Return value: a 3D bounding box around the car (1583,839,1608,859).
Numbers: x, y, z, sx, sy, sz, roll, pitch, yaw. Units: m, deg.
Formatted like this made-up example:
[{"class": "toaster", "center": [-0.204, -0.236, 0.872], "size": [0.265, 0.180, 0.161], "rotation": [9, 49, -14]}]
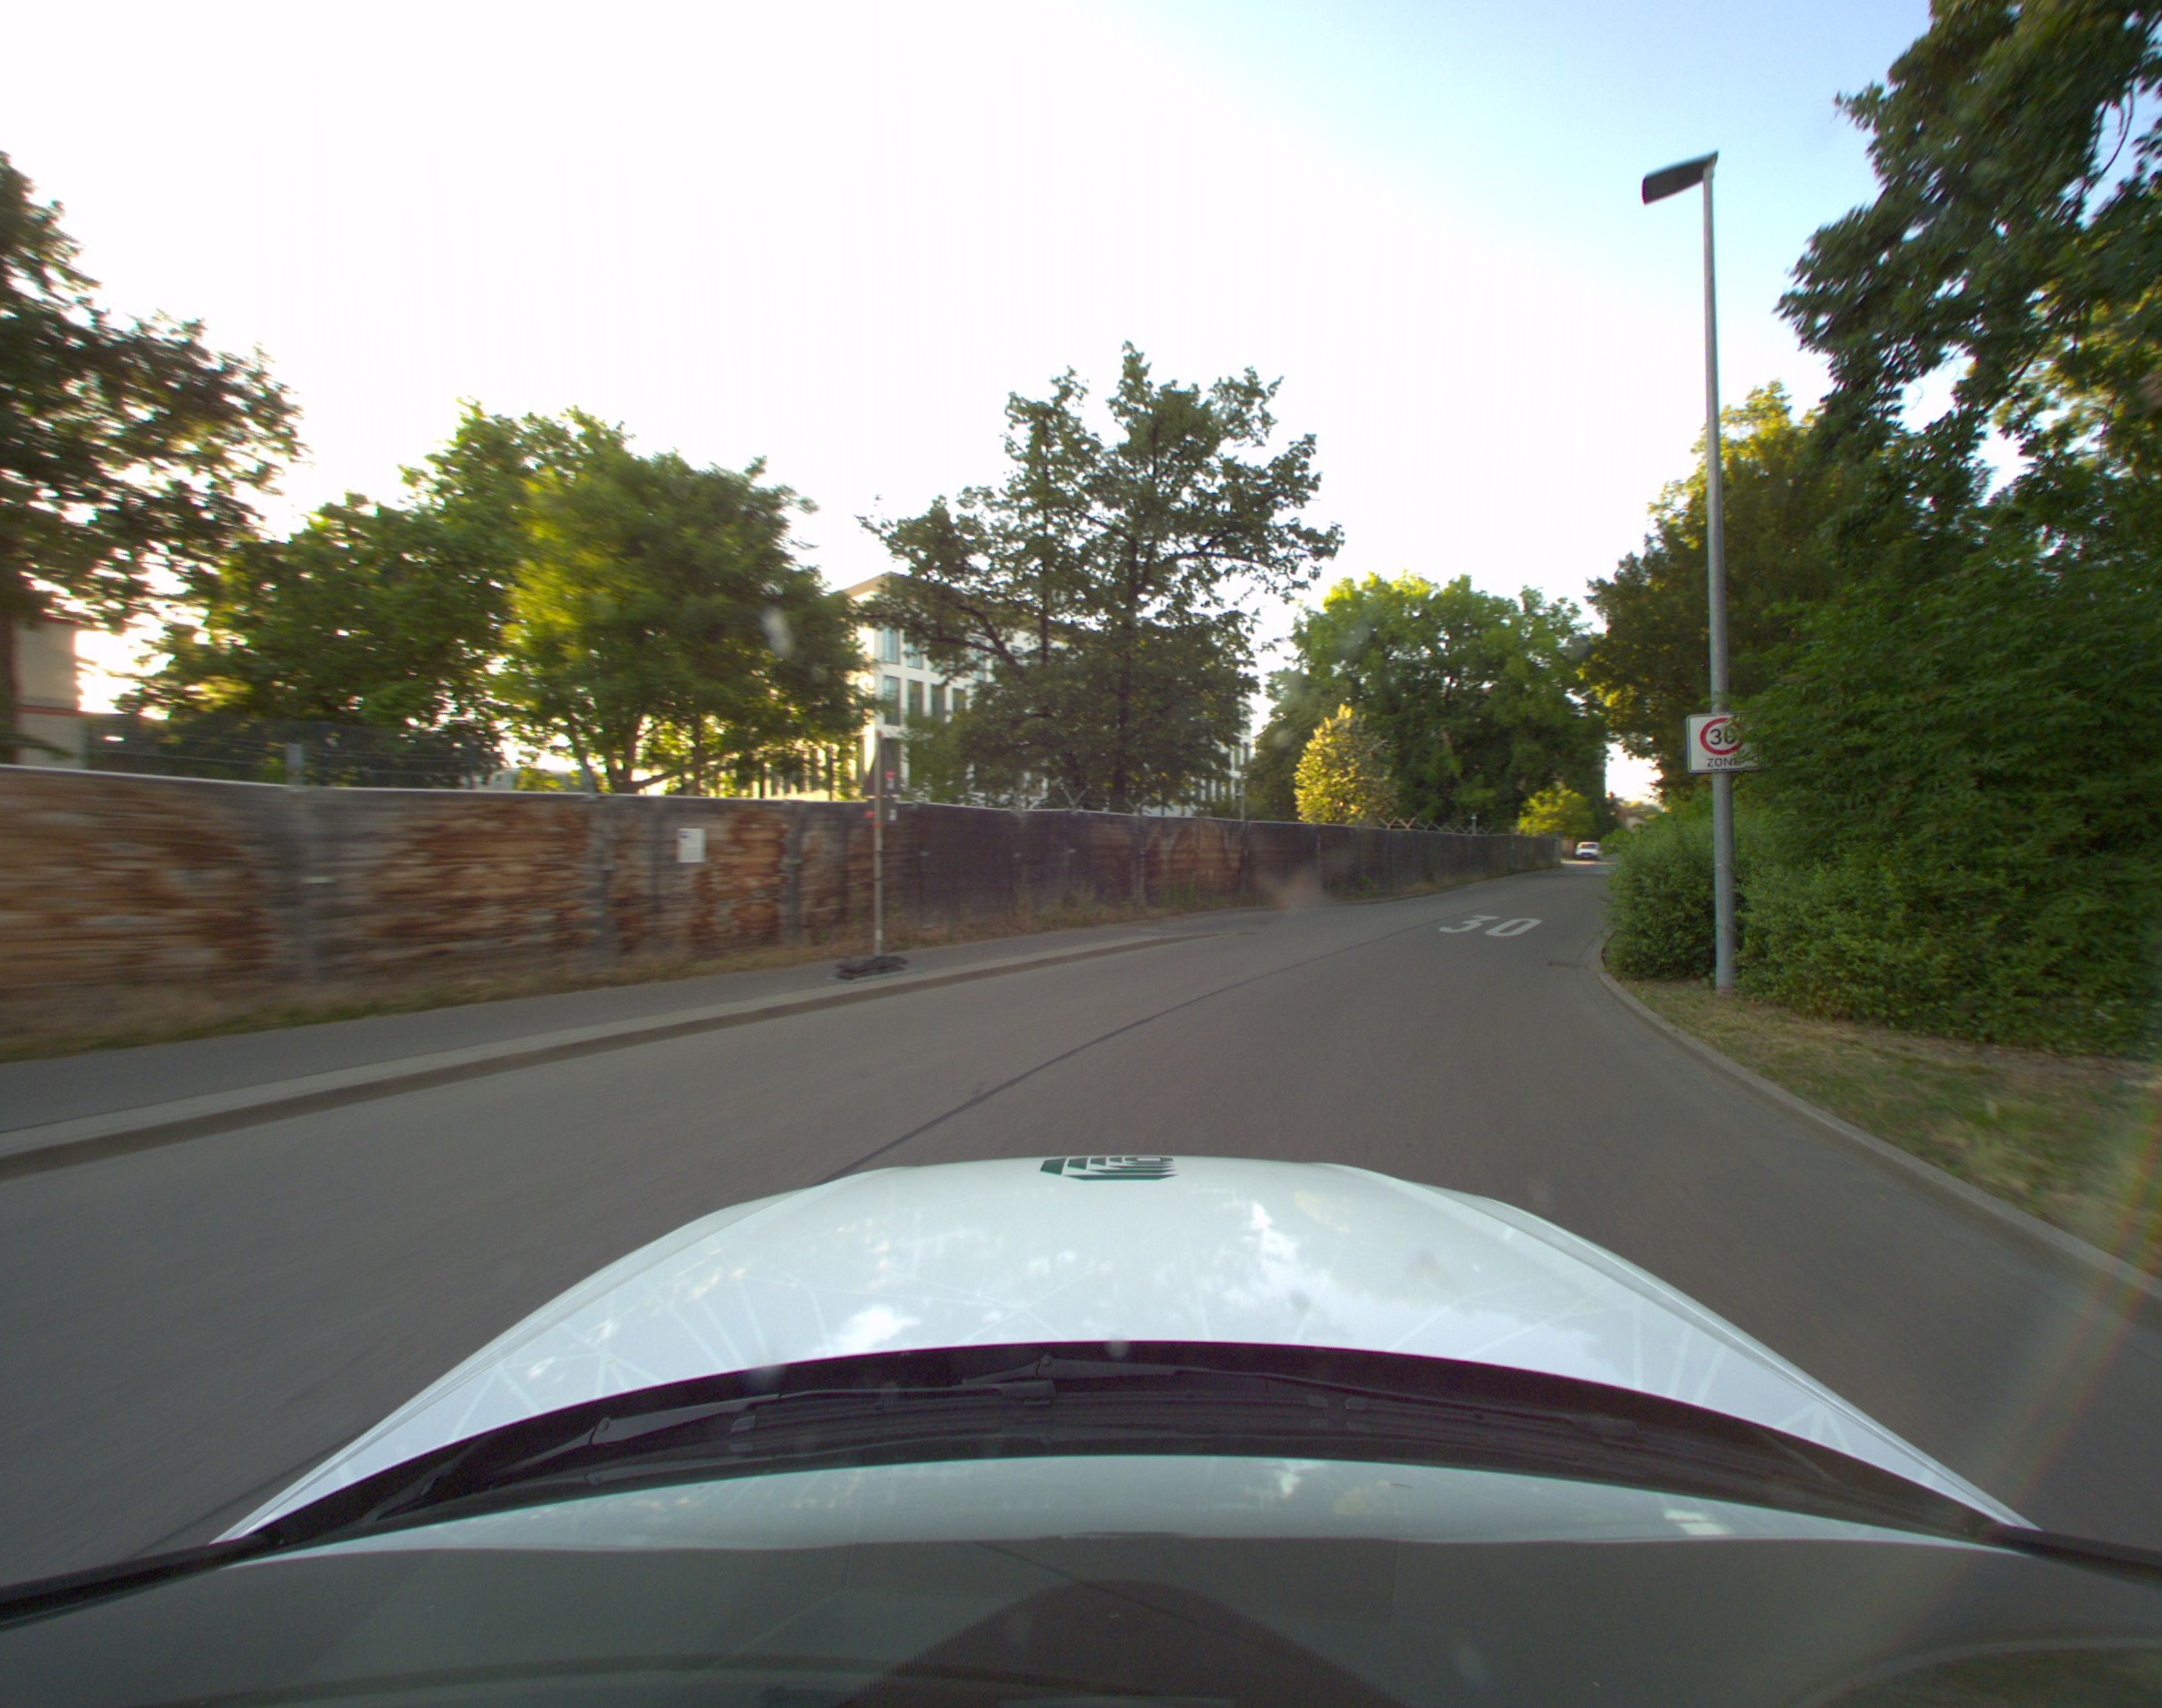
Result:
[{"class": "car", "center": [53.206, -0.488, 84.206], "size": [1.864, 2.013, 5.259], "rotation": [2, 0, 36]}]
